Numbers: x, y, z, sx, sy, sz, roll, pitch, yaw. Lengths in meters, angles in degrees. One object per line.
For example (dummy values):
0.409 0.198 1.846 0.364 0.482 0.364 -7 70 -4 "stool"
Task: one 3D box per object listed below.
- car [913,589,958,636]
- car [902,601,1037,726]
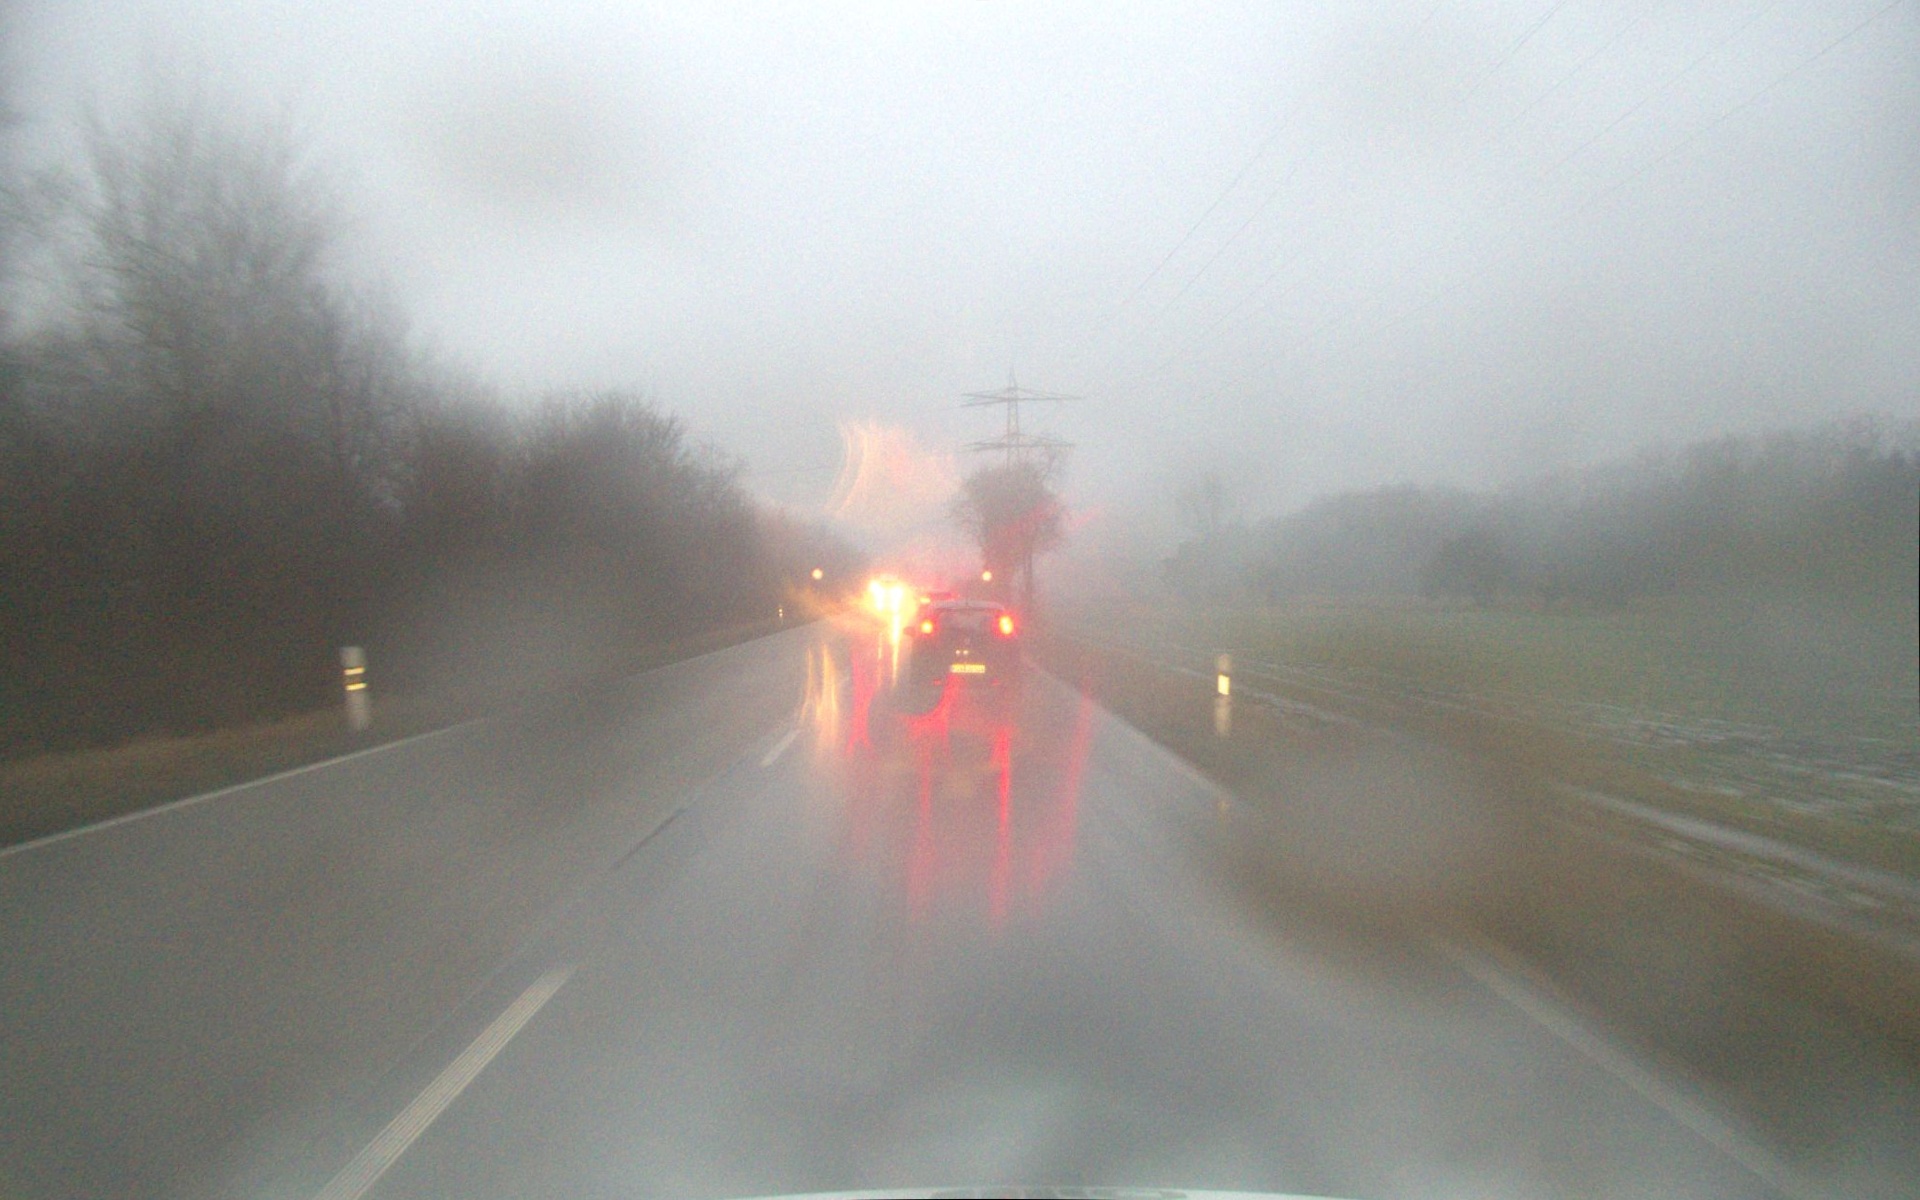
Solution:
-1.096 0.527 74.402 1.953 2.049 4.000 0 1 -1 "car"
0.103 0.916 25.864 1.953 1.783 3.999 0 0 -1 "car"
